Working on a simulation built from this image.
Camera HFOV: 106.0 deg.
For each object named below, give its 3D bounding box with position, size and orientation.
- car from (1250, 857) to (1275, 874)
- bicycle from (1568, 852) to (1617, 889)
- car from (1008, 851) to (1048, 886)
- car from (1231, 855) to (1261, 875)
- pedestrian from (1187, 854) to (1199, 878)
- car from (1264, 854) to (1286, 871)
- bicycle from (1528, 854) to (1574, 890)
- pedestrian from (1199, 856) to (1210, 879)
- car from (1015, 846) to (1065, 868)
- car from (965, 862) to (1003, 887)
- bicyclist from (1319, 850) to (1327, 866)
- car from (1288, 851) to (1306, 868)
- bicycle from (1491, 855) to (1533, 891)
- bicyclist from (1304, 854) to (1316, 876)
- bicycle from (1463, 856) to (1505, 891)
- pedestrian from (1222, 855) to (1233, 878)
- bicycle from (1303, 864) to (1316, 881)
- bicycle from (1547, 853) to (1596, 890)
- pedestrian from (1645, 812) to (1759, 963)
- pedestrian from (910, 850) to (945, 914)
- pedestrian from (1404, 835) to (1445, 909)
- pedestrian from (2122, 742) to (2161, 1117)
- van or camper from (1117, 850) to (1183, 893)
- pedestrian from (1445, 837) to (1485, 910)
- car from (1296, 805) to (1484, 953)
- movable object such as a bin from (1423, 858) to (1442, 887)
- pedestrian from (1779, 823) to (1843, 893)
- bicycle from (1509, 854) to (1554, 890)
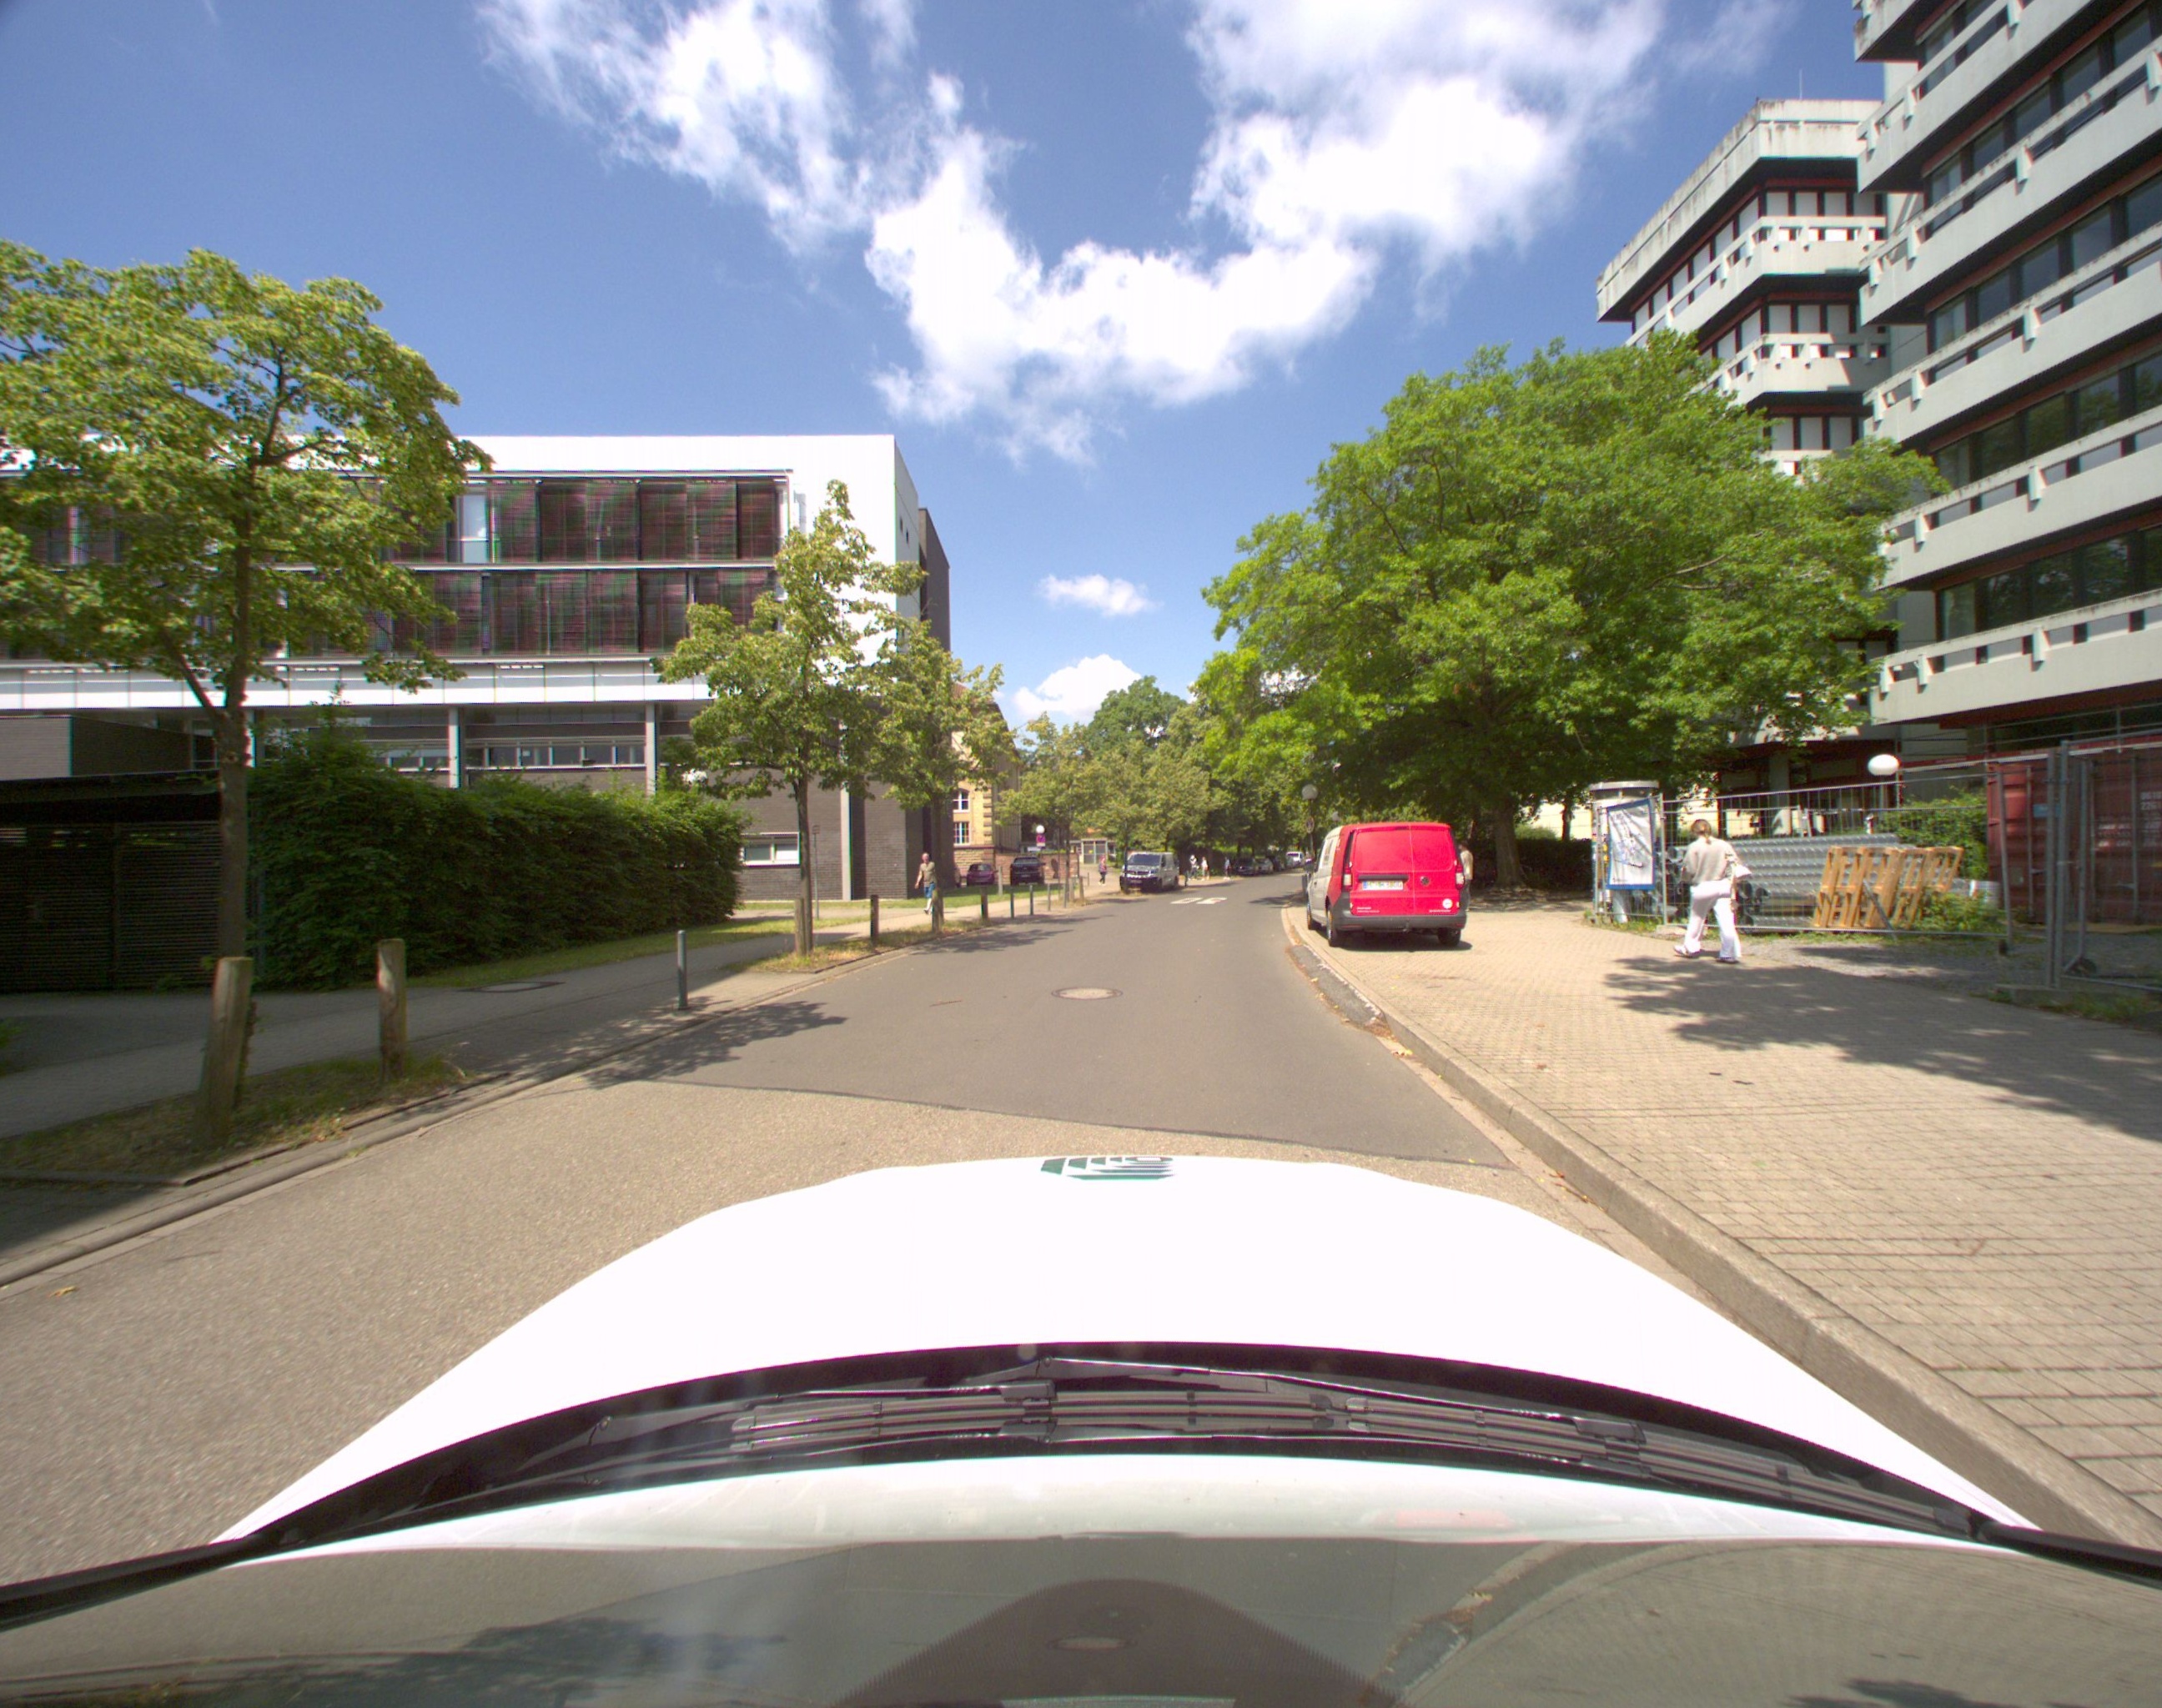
[{"bbox_3d":[16.055,0.998,71.986,1.602,1.388,4.020,-1,0,20],"label":"car"},{"bbox_3d":[16.281,0.504,25.969,0.496,1.119,1.874,-1,-1,5],"label":"bicycle"},{"bbox_3d":[-3.089,0.840,47.923,2.170,1.926,5.180,-1,0,-3],"label":"car"},{"bbox_3d":[13.173,0.868,64.867,1.745,1.522,4.132,-1,0,20],"label":"car"},{"bbox_3d":[7.800,0.847,56.802,0.628,1.663,0.600,-1,-1,-17],"label":"pedestrian"},{"bbox_3d":[19.058,0.813,80.048,1.602,1.679,4.020,-1,0,20],"label":"car"},{"bbox_3d":[15.060,0.571,26.156,0.496,1.119,1.874,-1,-1,5],"label":"bicycle"},{"bbox_3d":[8.405,0.929,55.590,0.585,1.527,0.492,-1,-1,-14],"label":"pedestrian"},{"bbox_3d":[-3.739,0.270,74.056,4.168,1.823,1.988,-1,-1,-18],"label":"car"},{"bbox_3d":[-5.655,1.175,47.819,1.812,1.324,3.765,-1,0,-2],"label":"car"},{"bbox_3d":[19.187,0.299,64.584,0.518,1.296,0.614,-2,-1,20],"label":"bicyclist"},{"bbox_3d":[25.037,0.638,94.388,1.602,1.816,4.020,-2,-1,20],"label":"car"},{"bbox_3d":[14.037,0.601,26.585,0.496,1.119,1.874,-1,-1,5],"label":"bicycle"},{"bbox_3d":[13.622,0.657,48.508,0.604,1.296,0.614,-2,-1,20],"label":"bicyclist"},{"bbox_3d":[13.497,0.633,27.325,0.616,1.119,1.874,-1,-1,5],"label":"bicycle"},{"bbox_3d":[10.274,0.891,57.202,0.497,1.585,0.489,-1,-1,-29],"label":"pedestrian"},{"bbox_3d":[13.608,1.093,48.440,0.609,1.001,1.430,-2,-1,20],"label":"bicycle"},{"bbox_3d":[15.617,0.542,25.959,0.496,1.119,1.942,-1,-1,5],"label":"bicycle"},{"bbox_3d":[7.040,0.367,9.266,0.710,1.631,0.711,-1,-1,1],"label":"pedestrian"},{"bbox_3d":[-4.351,0.771,23.081,0.579,1.764,0.915,-2,-1,17],"label":"pedestrian"},{"bbox_3d":[8.622,0.445,20.430,0.727,1.822,0.623,-1,-1,-37],"label":"pedestrian"},{"bbox_3d":[5.477,0.343,3.565,0.846,1.764,0.716,-2,-1,3],"label":"pedestrian"},{"bbox_3d":[3.465,0.800,39.852,1.937,1.923,5.446,0,0,19],"label":"van or camper"},{"bbox_3d":[9.213,0.455,19.543,0.749,1.710,0.558,-1,-1,-37],"label":"pedestrian"},{"bbox_3d":[4.703,0.341,13.173,1.837,1.891,4.903,-2,0,9],"label":"car"},{"bbox_3d":[13.066,0.691,30.297,0.486,1.072,0.506,-1,-1,6],"label":"movable object such as a bin"},{"bbox_3d":[17.400,0.093,19.428,0.827,1.635,0.723,-1,-1,-3],"label":"pedestrian"},{"bbox_3d":[14.539,0.568,26.330,0.496,1.119,1.939,-1,-1,5],"label":"bicycle"}]
